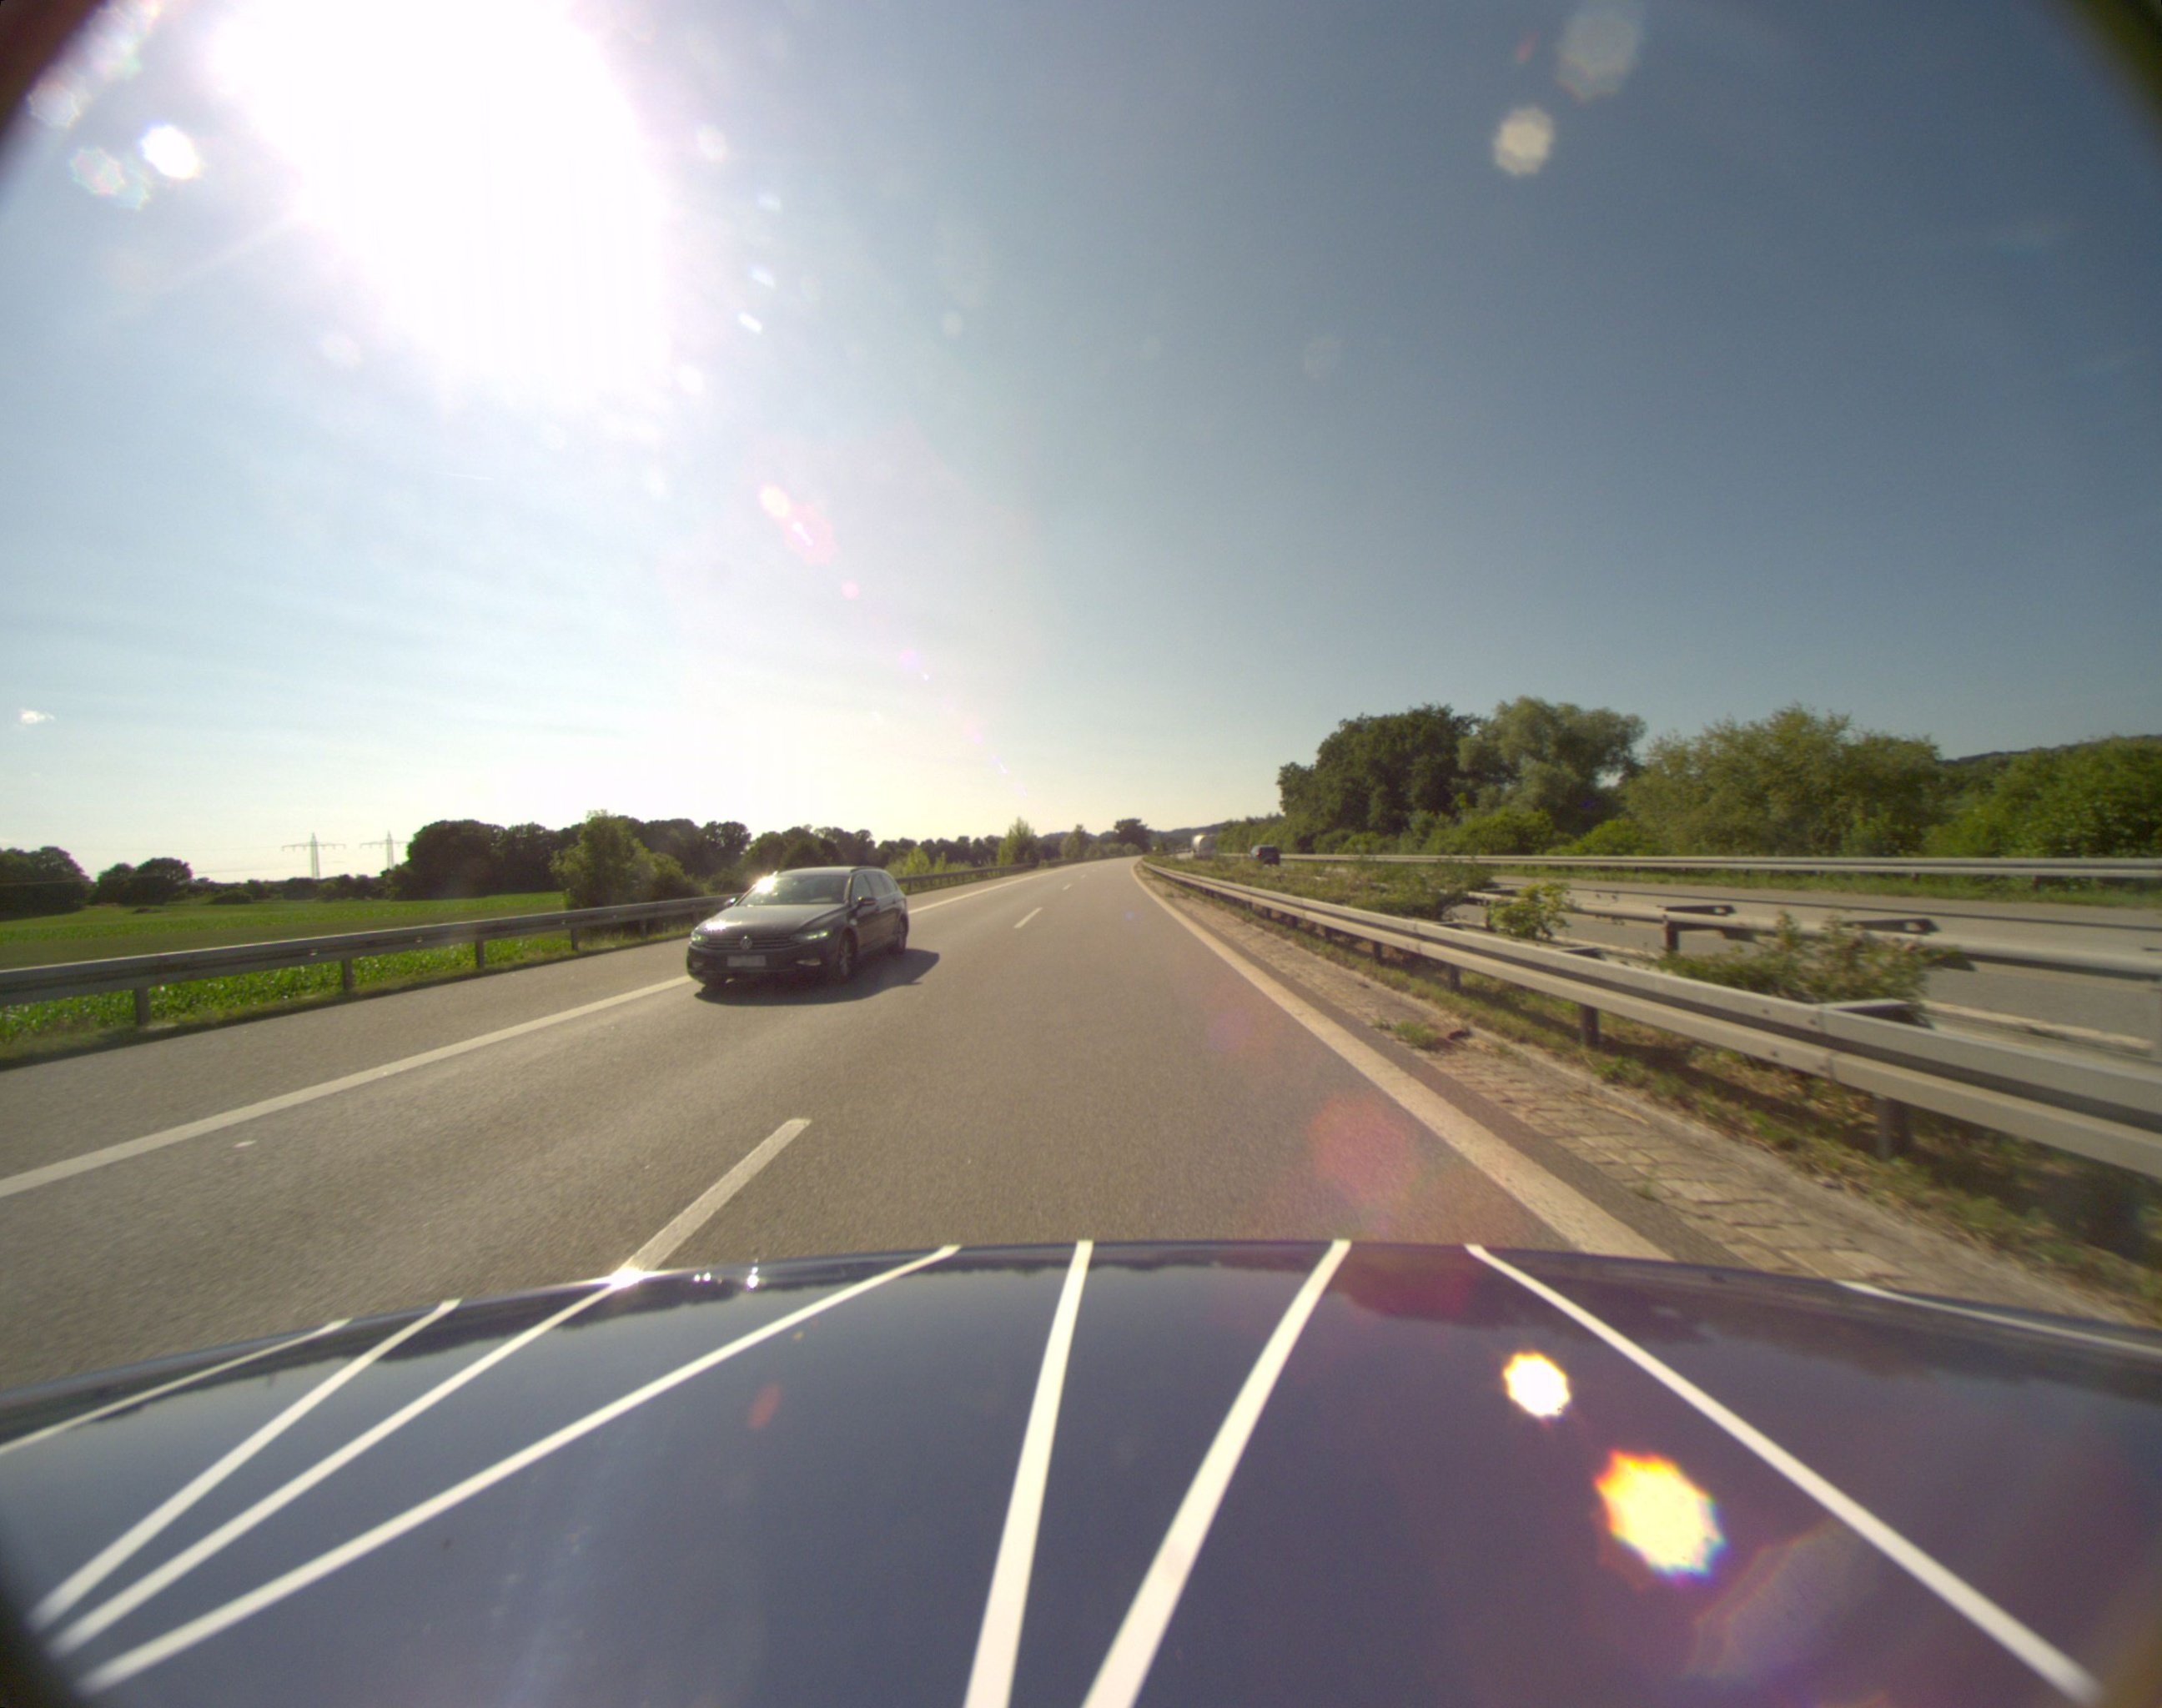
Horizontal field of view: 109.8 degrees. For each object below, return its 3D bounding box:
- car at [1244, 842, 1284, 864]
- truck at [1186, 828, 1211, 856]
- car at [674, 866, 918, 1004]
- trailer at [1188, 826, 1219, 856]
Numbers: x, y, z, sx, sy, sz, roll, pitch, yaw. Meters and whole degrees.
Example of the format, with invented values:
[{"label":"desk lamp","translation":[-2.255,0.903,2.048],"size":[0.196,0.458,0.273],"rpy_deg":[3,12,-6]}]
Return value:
[{"label":"car","translation":[13.700,-0.076,57.059],"size":[1.998,1.545,4.419],"rpy_deg":[-1,0,1]},{"label":"truck","translation":[16.378,-1.609,106.271],"size":[2.747,3.705,5.972],"rpy_deg":[-1,1,2]},{"label":"car","translation":[-3.742,0.972,10.927],"size":[1.723,1.392,4.413],"rpy_deg":[-2,1,1]},{"label":"trailer","translation":[16.151,-1.631,100.546],"size":[2.747,3.705,10.914],"rpy_deg":[-1,0,2]}]
